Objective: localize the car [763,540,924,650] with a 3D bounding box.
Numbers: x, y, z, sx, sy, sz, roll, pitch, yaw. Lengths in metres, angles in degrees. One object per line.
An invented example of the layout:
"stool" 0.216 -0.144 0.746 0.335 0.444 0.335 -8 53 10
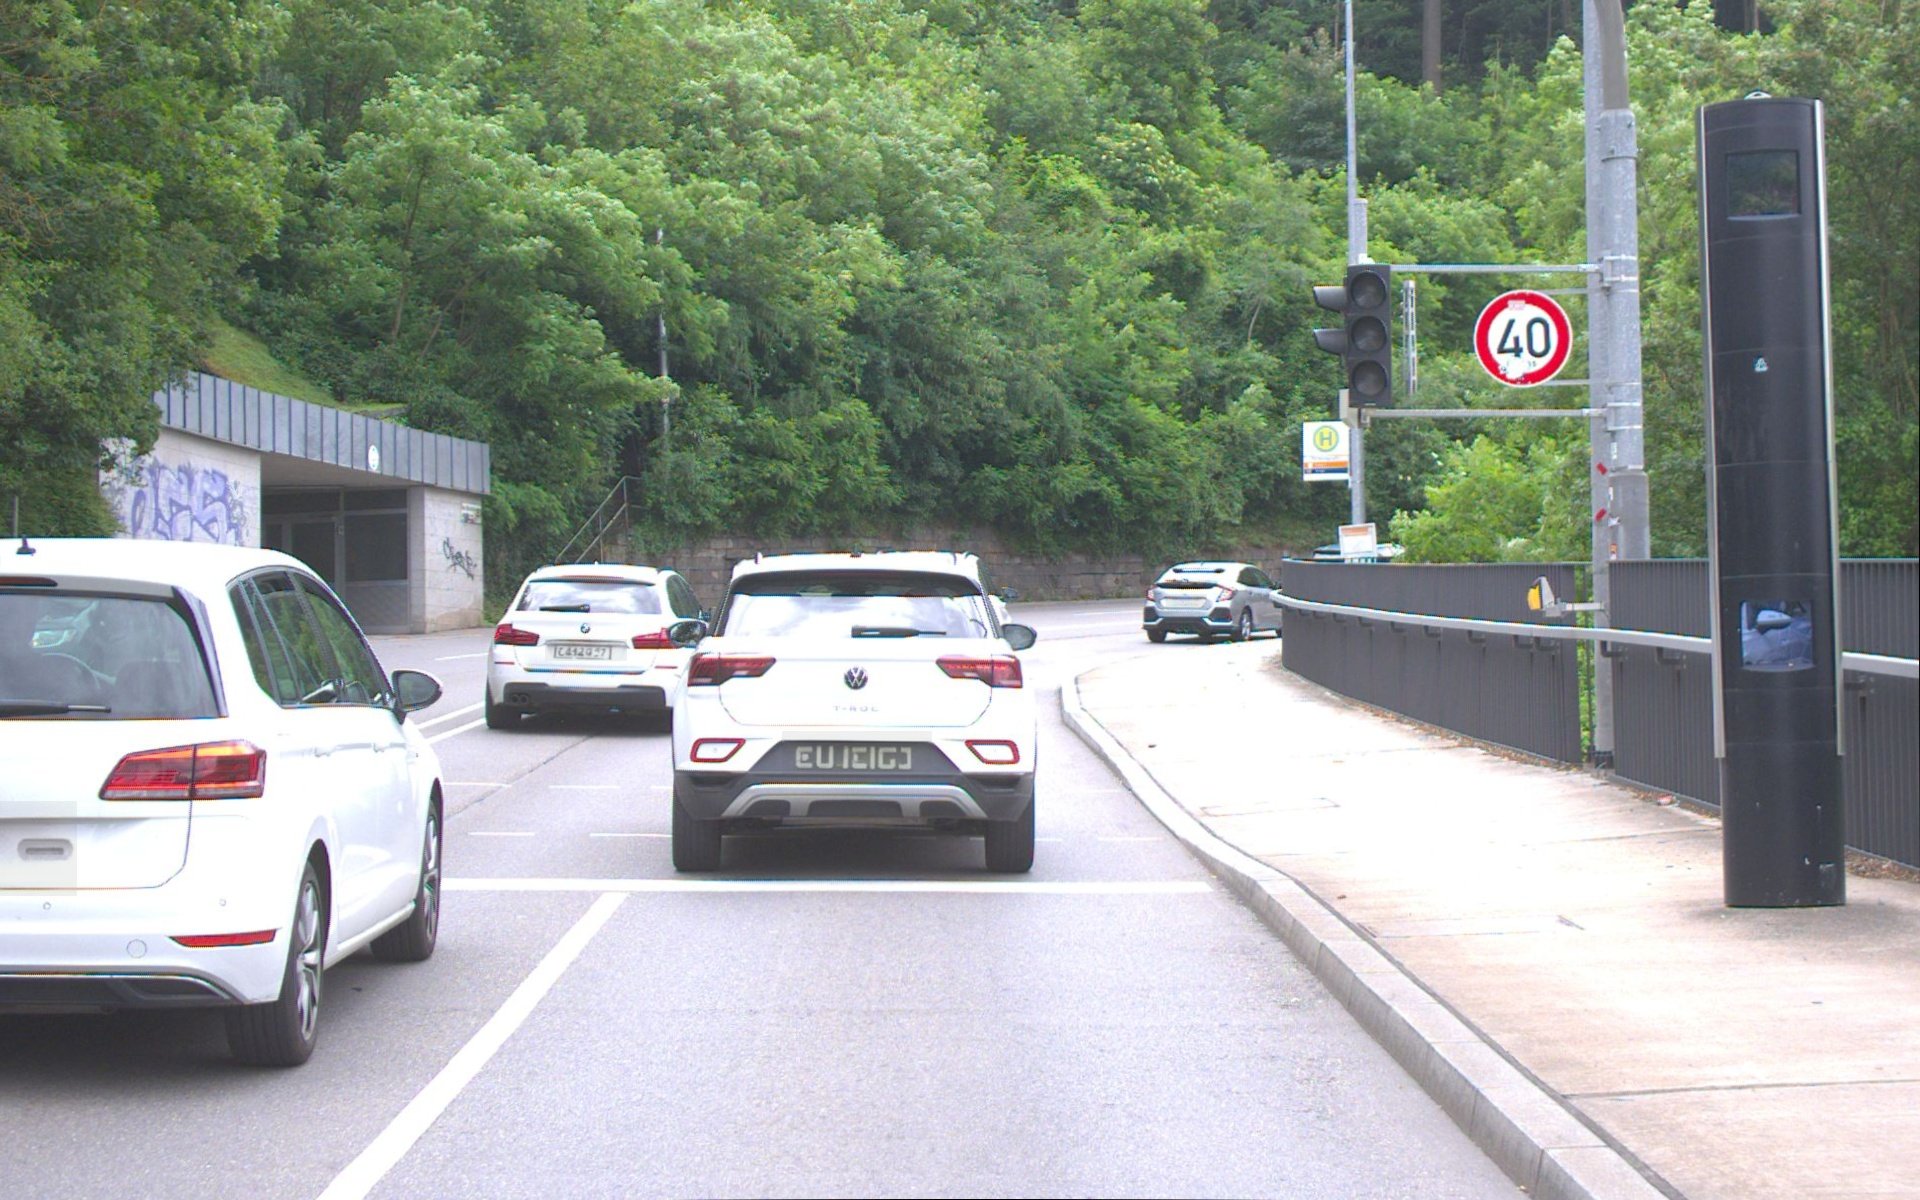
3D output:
"car" -1.772 -0.067 53.707 1.863 1.589 3.999 2 0 7

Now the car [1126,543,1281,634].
"car" 4.420 -0.194 61.888 2.033 1.514 4.198 2 0 14

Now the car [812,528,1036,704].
"car" -0.350 0.167 39.389 1.994 1.837 4.149 2 0 7

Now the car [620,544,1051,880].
"car" -0.527 0.507 17.928 1.814 1.534 4.008 -1 0 4

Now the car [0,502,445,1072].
"car" -2.887 0.479 11.513 1.720 1.549 4.276 1 1 -1

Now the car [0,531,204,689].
"car" -8.819 0.067 33.937 1.812 1.429 4.249 2 0 -1

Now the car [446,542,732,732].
"car" -3.284 0.279 31.335 1.993 1.552 4.681 1 1 1
